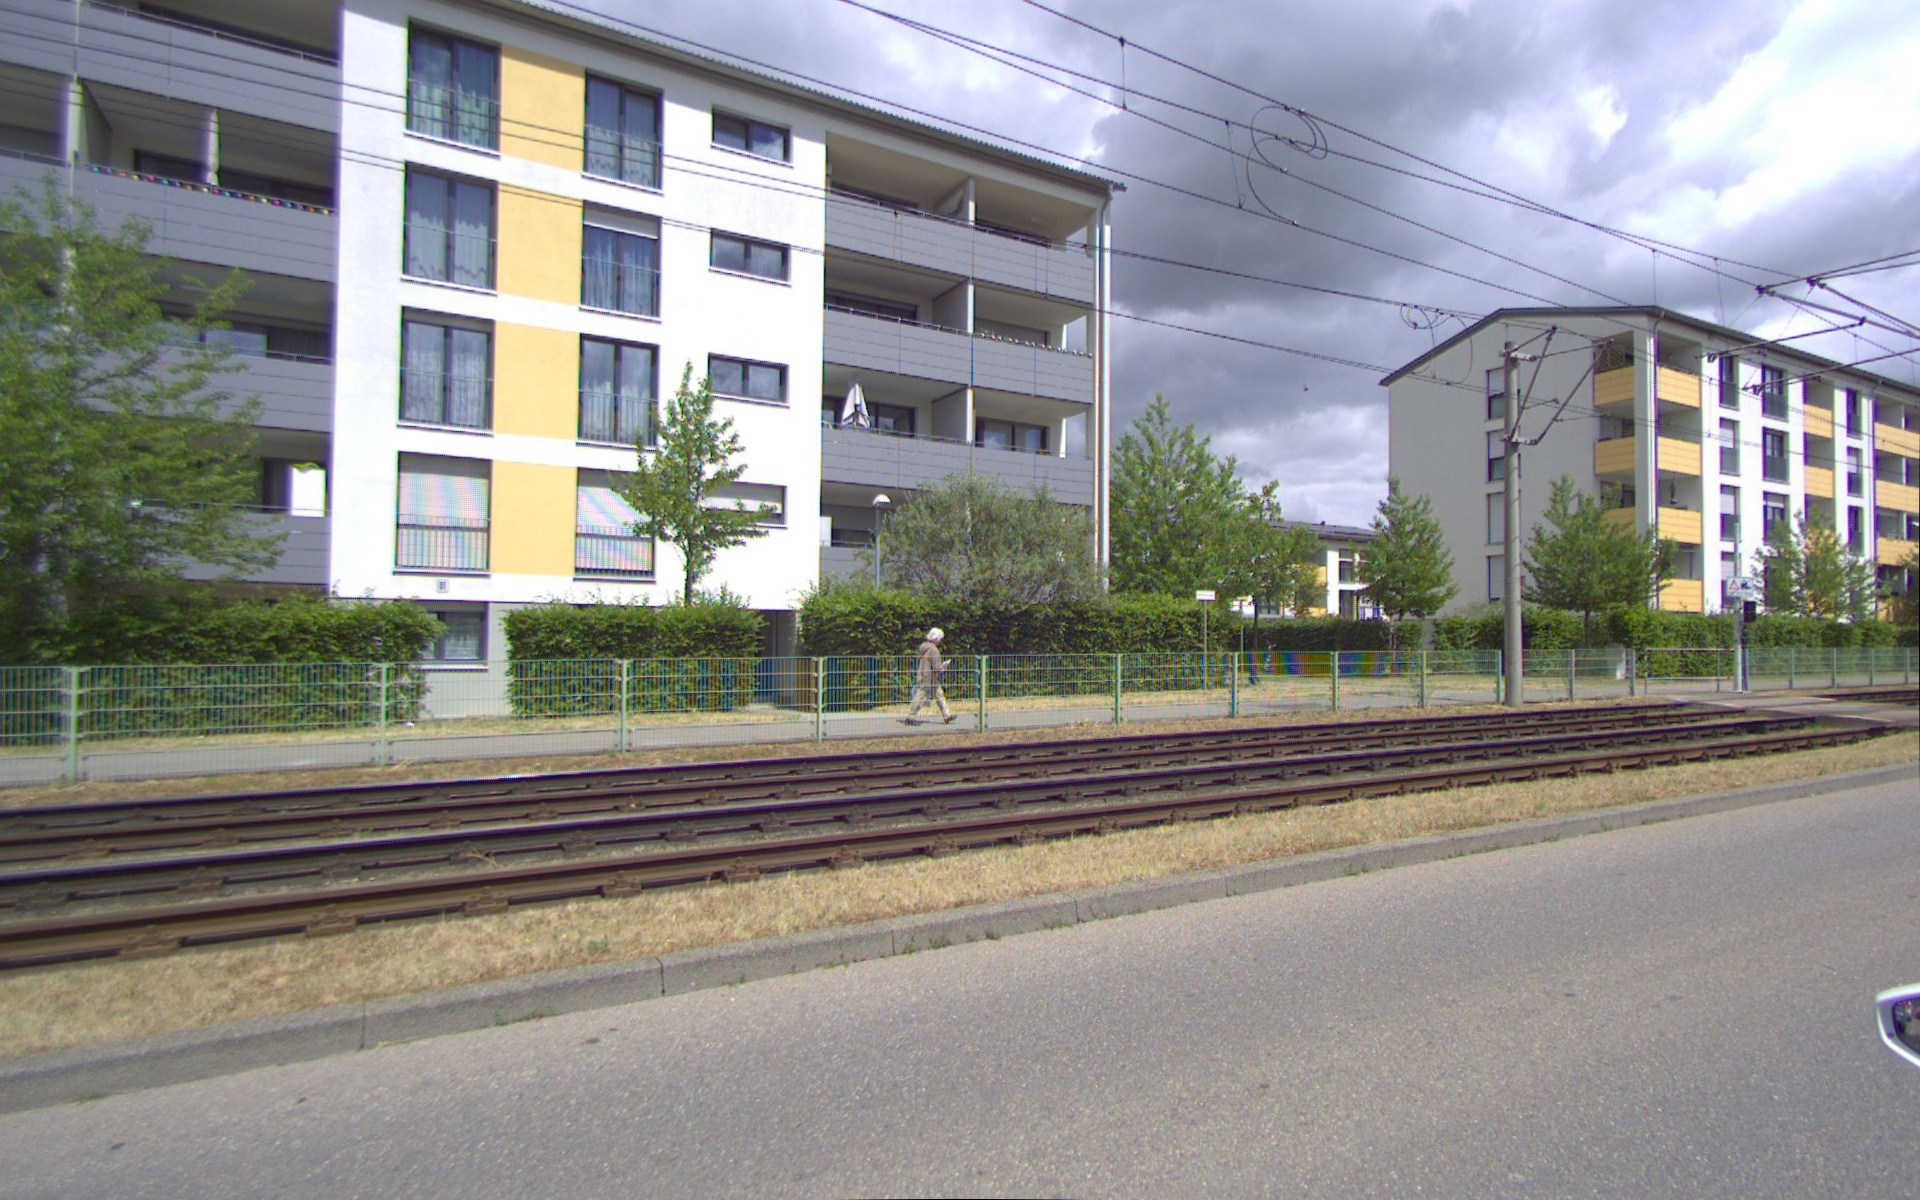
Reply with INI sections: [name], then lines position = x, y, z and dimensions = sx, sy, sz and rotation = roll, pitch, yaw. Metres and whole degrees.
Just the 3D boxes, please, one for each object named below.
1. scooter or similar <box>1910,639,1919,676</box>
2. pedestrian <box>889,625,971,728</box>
[scooter or similar]
position = 35.361, 2.100, 36.777
dimensions = 1.286, 1.310, 0.488
rotation = 1, -1, -28
[pedestrian]
position = -0.464, 1.132, 15.277
dimensions = 0.984, 1.503, 0.792
rotation = 1, -1, -31
